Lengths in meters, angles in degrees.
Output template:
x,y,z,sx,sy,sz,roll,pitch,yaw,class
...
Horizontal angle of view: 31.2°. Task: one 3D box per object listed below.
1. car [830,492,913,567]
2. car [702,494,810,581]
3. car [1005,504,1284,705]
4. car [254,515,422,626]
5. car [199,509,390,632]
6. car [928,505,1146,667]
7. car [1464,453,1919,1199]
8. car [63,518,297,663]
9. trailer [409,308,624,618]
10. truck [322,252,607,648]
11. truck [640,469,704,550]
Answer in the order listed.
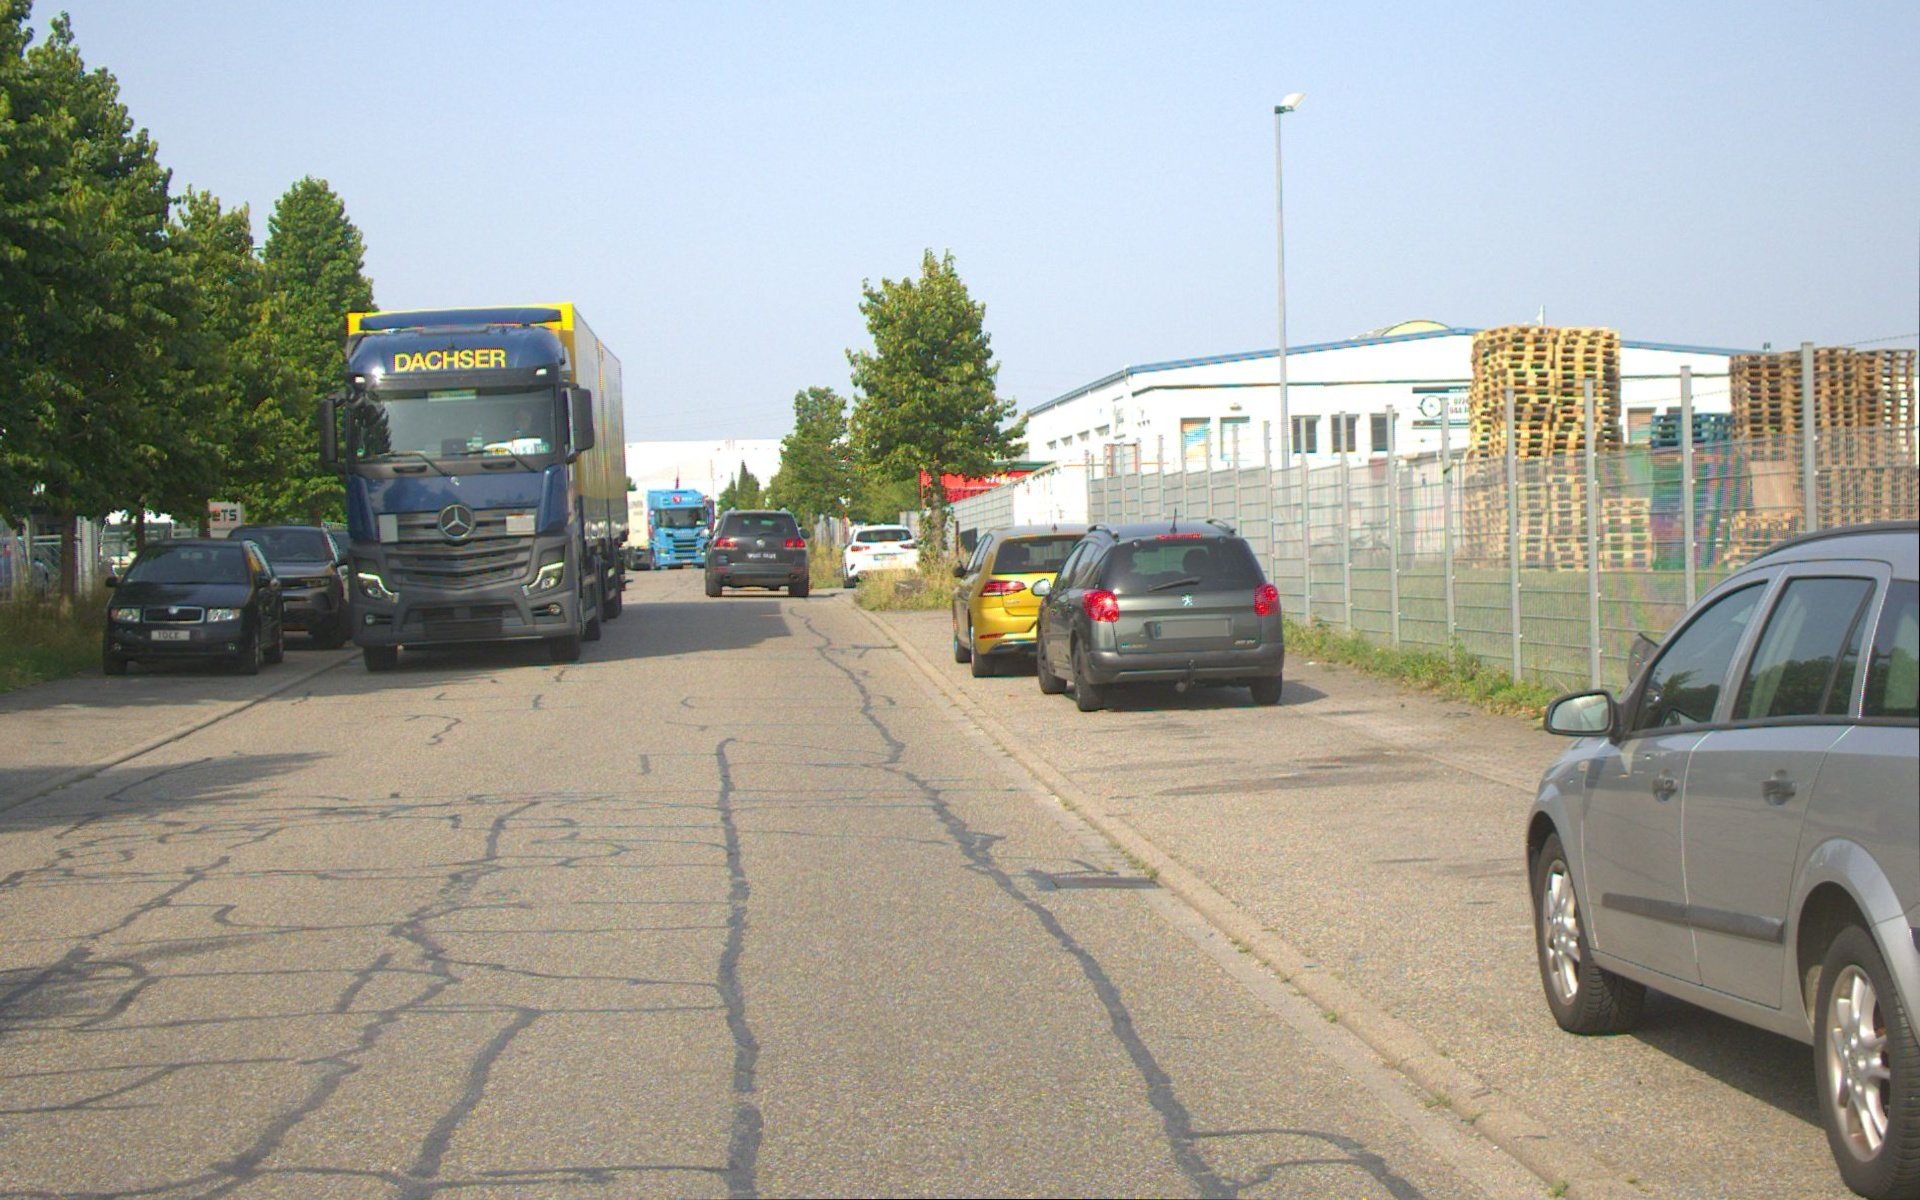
x,y,z,sx,sy,sz,roll,pitch,yaw,class
-2.089,-1.658,80.523,1.714,1.674,3.951,-1,1,-5,car
-3.905,-1.208,66.371,1.880,1.581,4.114,-1,1,-1,car
1.492,-0.014,29.212,1.714,1.510,4.005,-3,2,-5,car
-8.763,-0.454,48.706,1.833,1.491,4.050,0,1,-3,car
-8.452,-0.411,43.959,1.833,1.491,4.050,0,1,-3,car
0.717,-0.185,34.803,1.714,1.450,4.188,-3,2,-4,car
2.713,0.417,8.956,1.798,1.620,4.450,-3,2,-4,car
-8.547,-0.146,37.980,1.833,1.491,4.050,0,1,-3,car
-6.492,-1.991,51.404,2.498,4.131,8.499,-3,2,-4,trailer
-5.826,-1.741,41.980,2.498,4.131,10.381,-3,2,-4,truck
-13.666,-4.266,162.856,2.878,3.748,6.085,-1,1,-5,truck
